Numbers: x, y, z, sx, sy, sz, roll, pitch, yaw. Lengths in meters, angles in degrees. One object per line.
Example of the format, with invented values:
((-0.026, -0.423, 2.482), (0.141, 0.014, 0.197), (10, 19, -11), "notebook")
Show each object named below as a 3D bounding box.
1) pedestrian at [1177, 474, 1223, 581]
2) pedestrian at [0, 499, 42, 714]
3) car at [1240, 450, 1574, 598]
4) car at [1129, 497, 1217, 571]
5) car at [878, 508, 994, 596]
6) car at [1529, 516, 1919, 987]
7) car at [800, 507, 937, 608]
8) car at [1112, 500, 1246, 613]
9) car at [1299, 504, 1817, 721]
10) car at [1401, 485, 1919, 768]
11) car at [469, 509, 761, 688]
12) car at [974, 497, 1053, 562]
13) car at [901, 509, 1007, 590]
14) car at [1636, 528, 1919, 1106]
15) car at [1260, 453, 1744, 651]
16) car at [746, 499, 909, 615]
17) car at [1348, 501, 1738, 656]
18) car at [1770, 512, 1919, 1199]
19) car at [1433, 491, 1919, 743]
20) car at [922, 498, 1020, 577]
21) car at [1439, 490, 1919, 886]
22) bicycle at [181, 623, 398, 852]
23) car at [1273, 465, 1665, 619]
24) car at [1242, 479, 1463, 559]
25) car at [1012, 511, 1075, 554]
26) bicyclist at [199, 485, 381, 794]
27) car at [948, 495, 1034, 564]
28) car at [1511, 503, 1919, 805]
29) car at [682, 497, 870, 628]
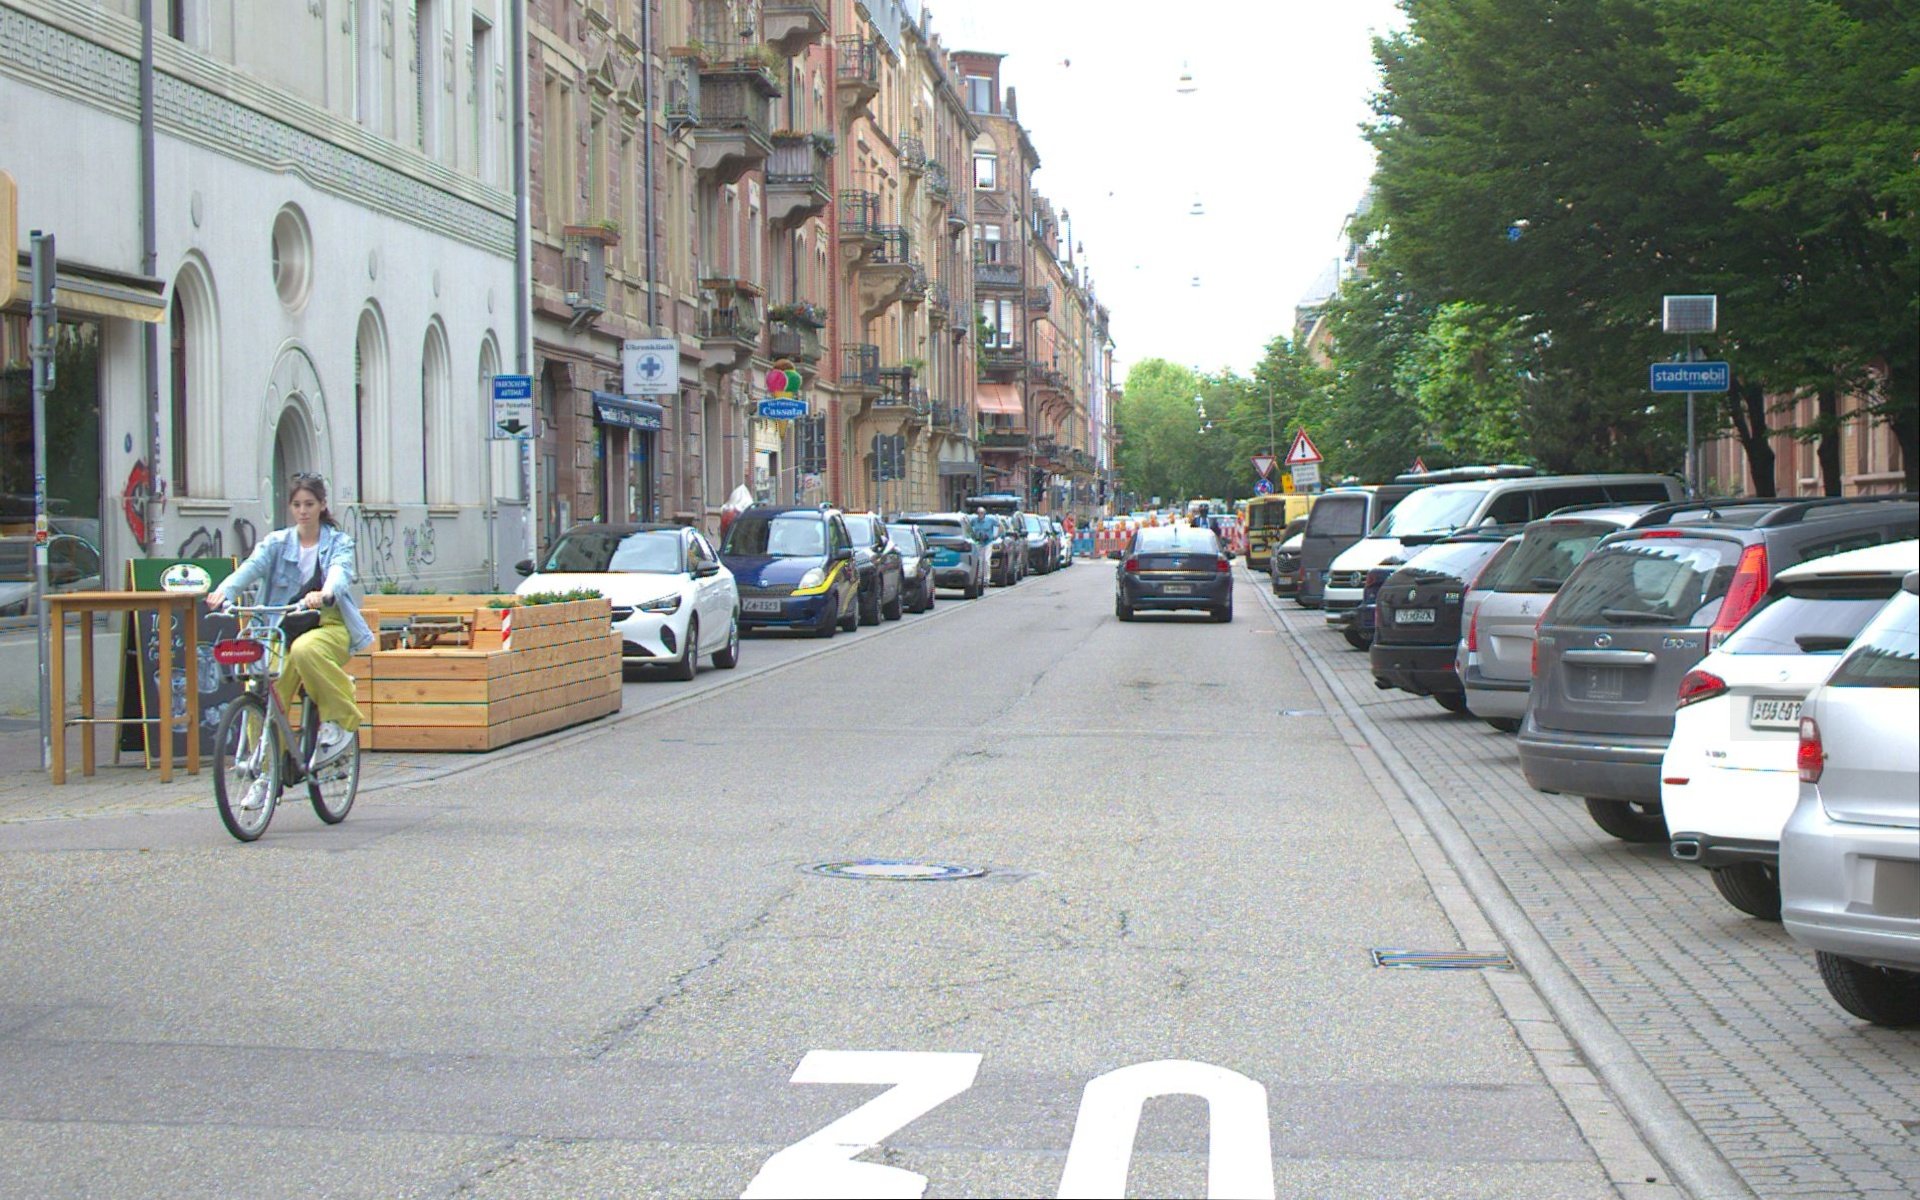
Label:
((4.858, -1.462, 69.686), (0.891, 2.138, 1.028), (-1, 0, 3), "pedestrian")
((-7.298, 0.048, 25.657), (0.743, 1.588, 0.619), (-1, 0, -26), "pedestrian")
((7.790, -1.327, 59.980), (5.385, 2.365, 1.951), (-2, 1, -17), "car")
((4.964, -1.523, 80.549), (1.994, 1.675, 4.000), (-1, 0, 3), "car")
((-0.430, -0.946, 65.959), (1.944, 1.611, 3.942), (-1, 1, 3), "car")
((4.360, 0.481, 13.059), (3.972, 1.538, 1.876), (0, 2, -27), "car")
((-1.478, -0.714, 56.911), (1.944, 1.611, 3.942), (0, 1, 3), "car")
((3.385, -0.663, 53.504), (1.994, 1.675, 4.000), (-1, 0, 3), "car")
((4.719, 0.067, 26.943), (3.852, 1.500, 1.771), (-3, 1, -36), "car")
((4.989, 0.104, 21.639), (4.046, 1.579, 1.771), (-2, 1, -26), "car")
((-3.215, -0.052, 32.766), (1.944, 1.548, 3.816), (-2, 1, 7), "car")
((1.518, -1.961, 95.343), (1.944, 1.732, 3.942), (-1, 1, 4), "car")
((-0.097, -1.057, 71.020), (1.944, 1.611, 3.942), (0, 1, 3), "car")
((3.947, 0.535, 10.026), (3.554, 1.493, 1.846), (-1, 2, -31), "car")
((6.462, -0.591, 40.753), (5.607, 2.120, 1.950), (-3, 1, -30), "car")
((-1.874, -0.635, 49.794), (1.944, 1.611, 3.942), (0, 1, 4), "car")
((6.304, -0.250, 37.105), (3.851, 1.500, 1.771), (-3, 1, -30), "car")
((4.027, 0.493, 7.312), (4.273, 1.573, 1.864), (-4, 2, -29), "car")
((5.521, 0.065, 24.216), (4.047, 1.579, 1.771), (-3, 1, -29), "car")
((0.279, -1.420, 77.789), (1.944, 1.735, 3.942), (0, 1, 4), "car")
((4.435, 0.292, 15.696), (4.046, 1.579, 1.904), (-2, 1, -27), "car")
((-3.087, 0.608, 15.981), (0.535, 0.974, 1.865), (-1, 0, 3), "bicycle")
((7.257, -0.843, 48.810), (5.386, 1.985, 1.950), (-3, 1, -30), "car")
((10.107, -2.082, 88.465), (5.385, 1.861, 1.951), (-2, 1, -25), "car")
((2.658, -2.149, 110.231), (1.993, 1.316, 4.000), (-1, 0, 1), "car")
((-3.104, 0.177, 15.981), (0.668, 1.394, 0.783), (-1, 0, 1), "bicyclist")
((0.821, -1.828, 88.580), (1.944, 1.738, 3.942), (0, 1, 4), "car")
((5.179, 0.211, 19.030), (4.047, 1.481, 1.682), (-3, 1, -32), "car")
((-2.317, -0.500, 44.341), (1.944, 1.611, 3.942), (0, 1, 4), "car")
